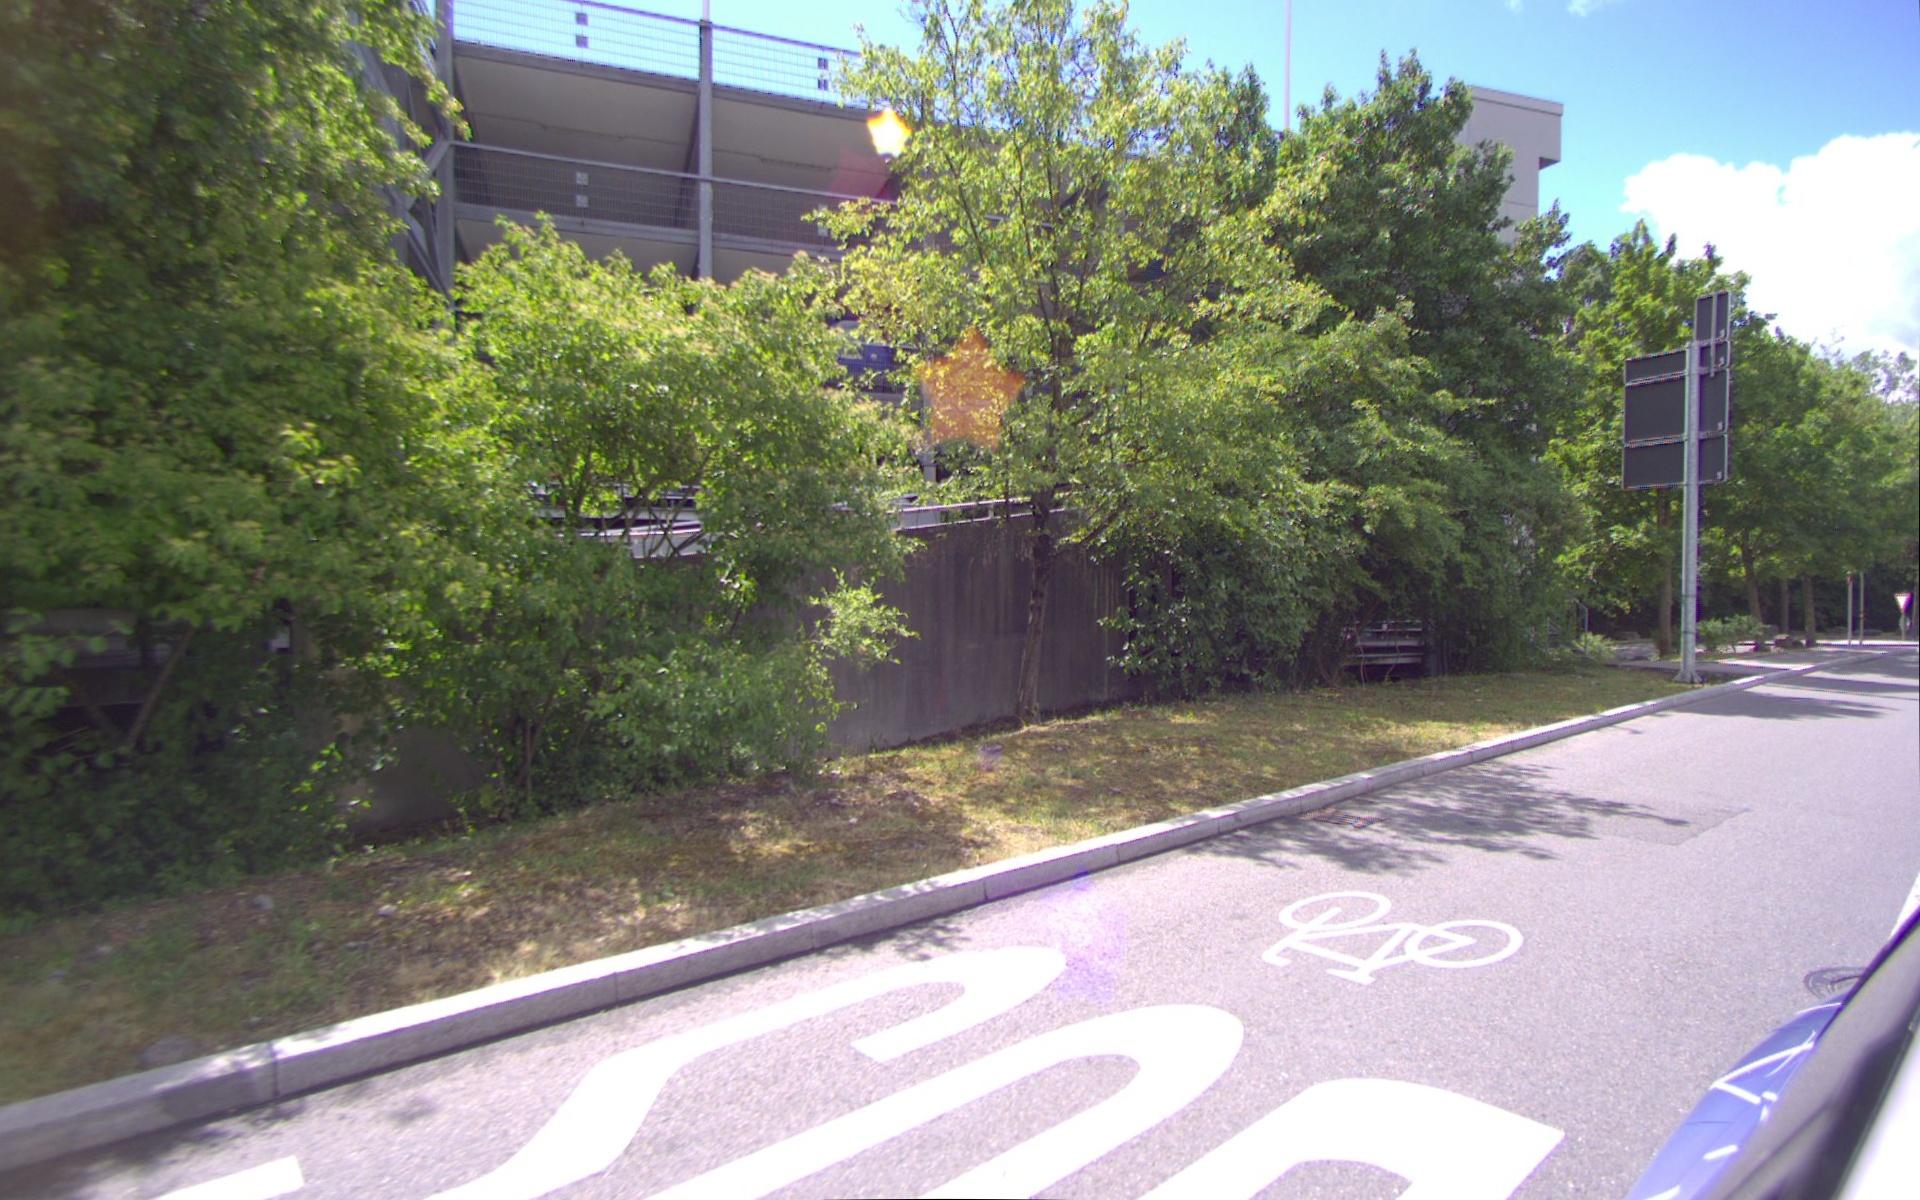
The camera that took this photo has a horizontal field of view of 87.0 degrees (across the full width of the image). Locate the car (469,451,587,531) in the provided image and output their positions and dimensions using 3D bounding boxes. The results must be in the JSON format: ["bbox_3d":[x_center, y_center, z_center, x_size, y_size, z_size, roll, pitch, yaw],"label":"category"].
[{"bbox_3d":[-8.491,-2.092,20.168,1.795,1.341,3.722,0,3,-18],"label":"car"}]

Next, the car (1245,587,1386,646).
[{"bbox_3d":[9.766,0.423,28.077,1.630,1.482,3.784,1,1,-20],"label":"car"}]

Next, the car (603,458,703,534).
[{"bbox_3d":[-6.339,-2.064,20.863,1.795,1.341,3.722,0,3,-18],"label":"car"}]

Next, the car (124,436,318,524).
[{"bbox_3d":[-13.439,-2.124,18.666,1.795,1.341,3.722,0,3,-18],"label":"car"}]

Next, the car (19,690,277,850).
[{"bbox_3d":[-11.466,2.293,14.627,1.716,1.442,3.867,0,2,-19],"label":"car"}]

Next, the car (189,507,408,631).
[{"bbox_3d":[-9.535,-0.496,14.944,1.732,1.570,3.945,0,3,-18],"label":"car"}]

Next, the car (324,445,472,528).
[{"bbox_3d":[-10.708,-2.108,19.540,1.795,1.341,3.722,0,3,-18],"label":"car"}]

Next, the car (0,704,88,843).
[{"bbox_3d":[-13.099,2.345,12.887,1.716,1.442,3.867,0,2,-19],"label":"car"}]
